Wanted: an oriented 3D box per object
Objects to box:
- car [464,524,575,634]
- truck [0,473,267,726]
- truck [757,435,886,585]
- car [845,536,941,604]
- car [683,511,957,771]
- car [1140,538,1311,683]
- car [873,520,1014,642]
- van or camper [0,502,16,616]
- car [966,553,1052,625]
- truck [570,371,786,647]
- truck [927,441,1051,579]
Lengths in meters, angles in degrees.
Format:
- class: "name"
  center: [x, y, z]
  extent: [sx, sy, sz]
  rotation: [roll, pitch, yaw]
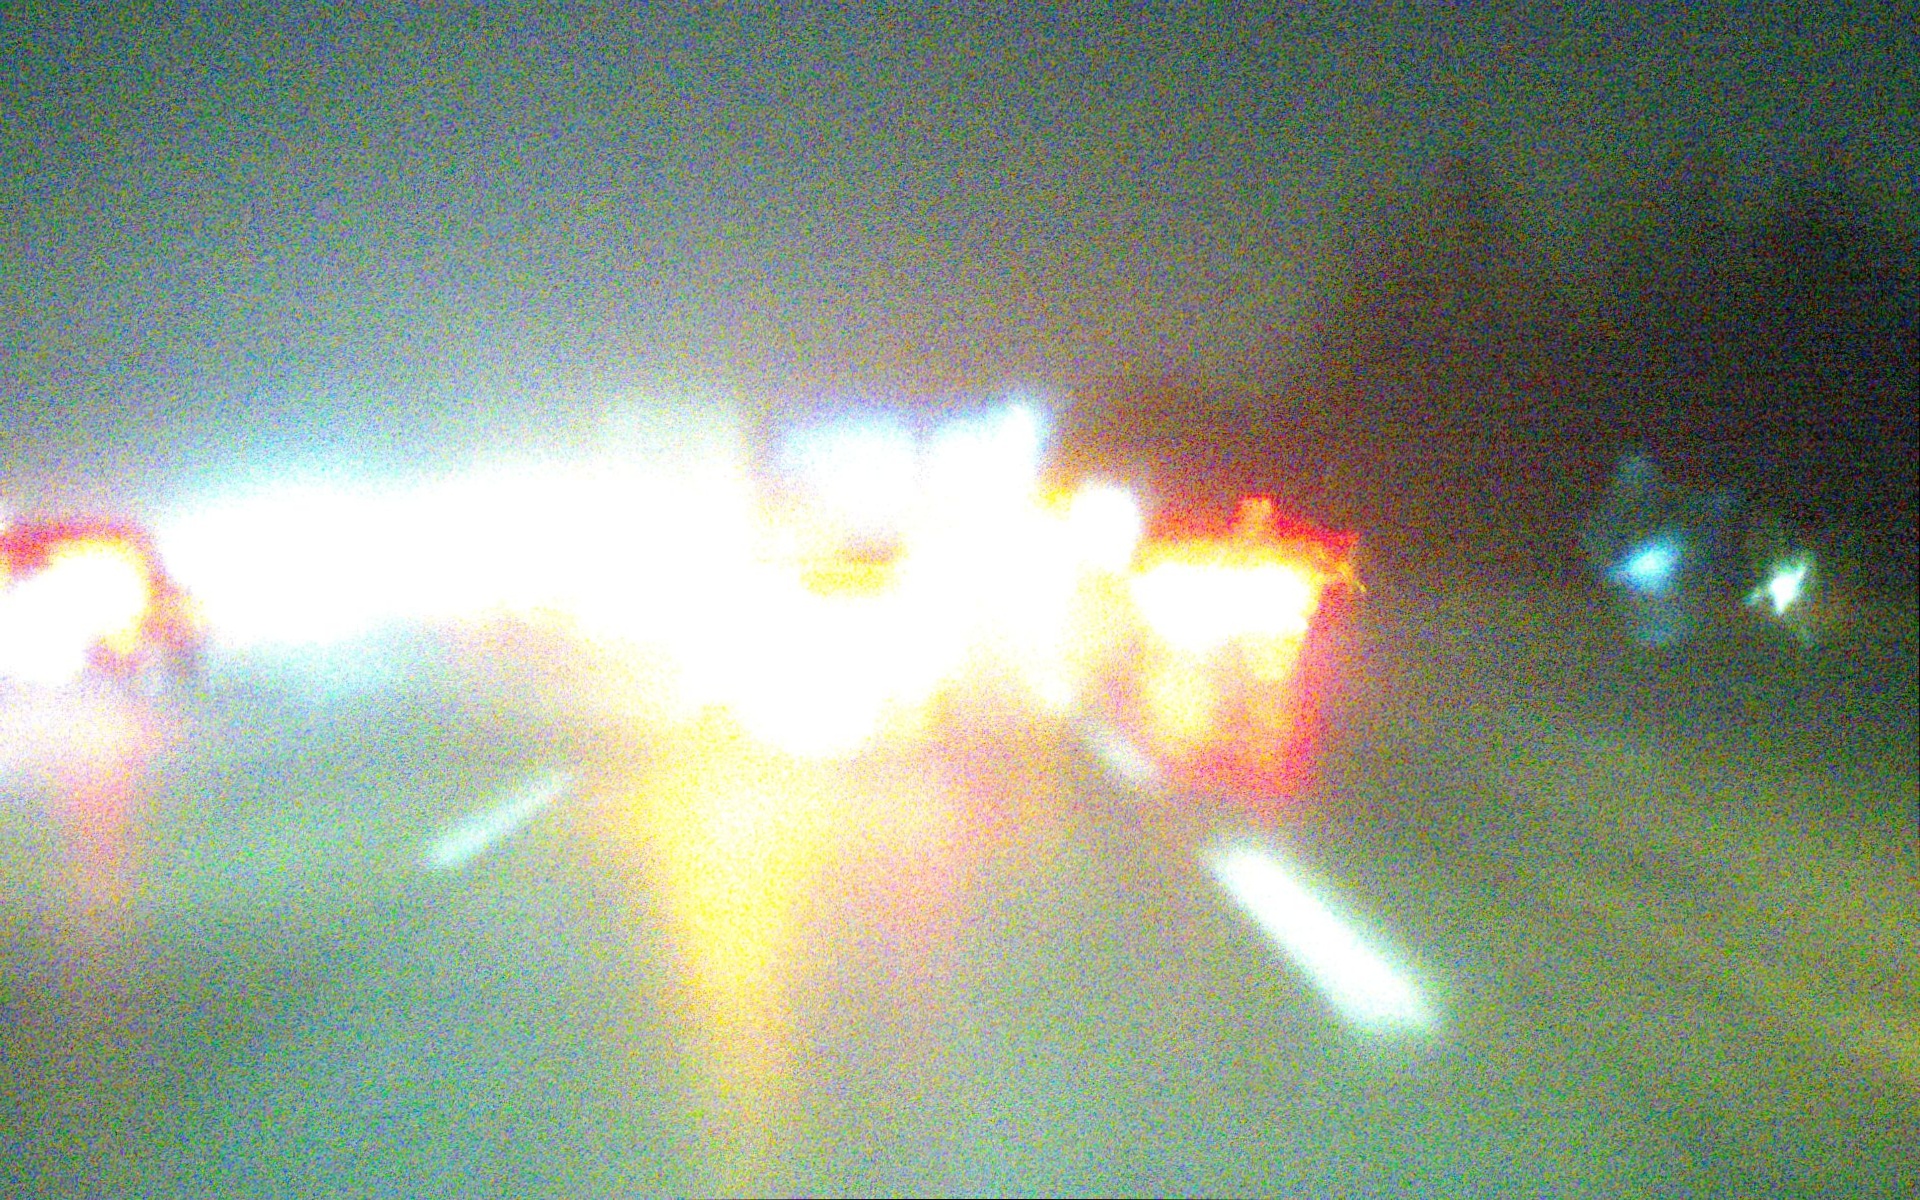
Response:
- class: "car"
  center: [-9.527, -0.460, 74.487]
  extent: [2.263, 2.265, 5.387]
  rotation: [1, 0, -7]
- class: "truck"
  center: [-8.521, -0.043, 32.967]
  extent: [2.857, 2.193, 5.859]
  rotation: [1, 0, -3]
- class: "truck"
  center: [-5.195, -3.356, 131.666]
  extent: [4.254, 5.425, 10.884]
  rotation: [1, 0, 1]
- class: "car"
  center: [-2.045, -0.943, 106.587]
  extent: [2.833, 2.007, 5.510]
  rotation: [1, 0, 0]
- class: "car"
  center: [-0.918, 0.219, 24.476]
  extent: [1.765, 1.683, 4.000]
  rotation: [1, 1, 0]
- class: "car"
  center: [3.391, 0.113, 44.505]
  extent: [1.878, 1.756, 4.000]
  rotation: [1, 0, 0]
- class: "car"
  center: [-0.274, -0.301, 52.780]
  extent: [2.039, 1.755, 4.516]
  rotation: [1, 0, -1]
- class: "van or camper"
  center: [-32.295, -1.333, 109.232]
  extent: [2.514, 3.688, 7.680]
  rotation: [1, 0, -1]
- class: "car"
  center: [1.192, -0.292, 85.109]
  extent: [1.993, 1.698, 4.458]
  rotation: [1, 0, 0]
- class: "truck"
  center: [-5.295, -1.620, 64.479]
  extent: [3.655, 4.721, 9.854]
  rotation: [1, 0, -5]
- class: "truck"
  center: [1.068, -3.473, 136.242]
  extent: [4.161, 5.197, 9.955]
  rotation: [1, 0, -3]
